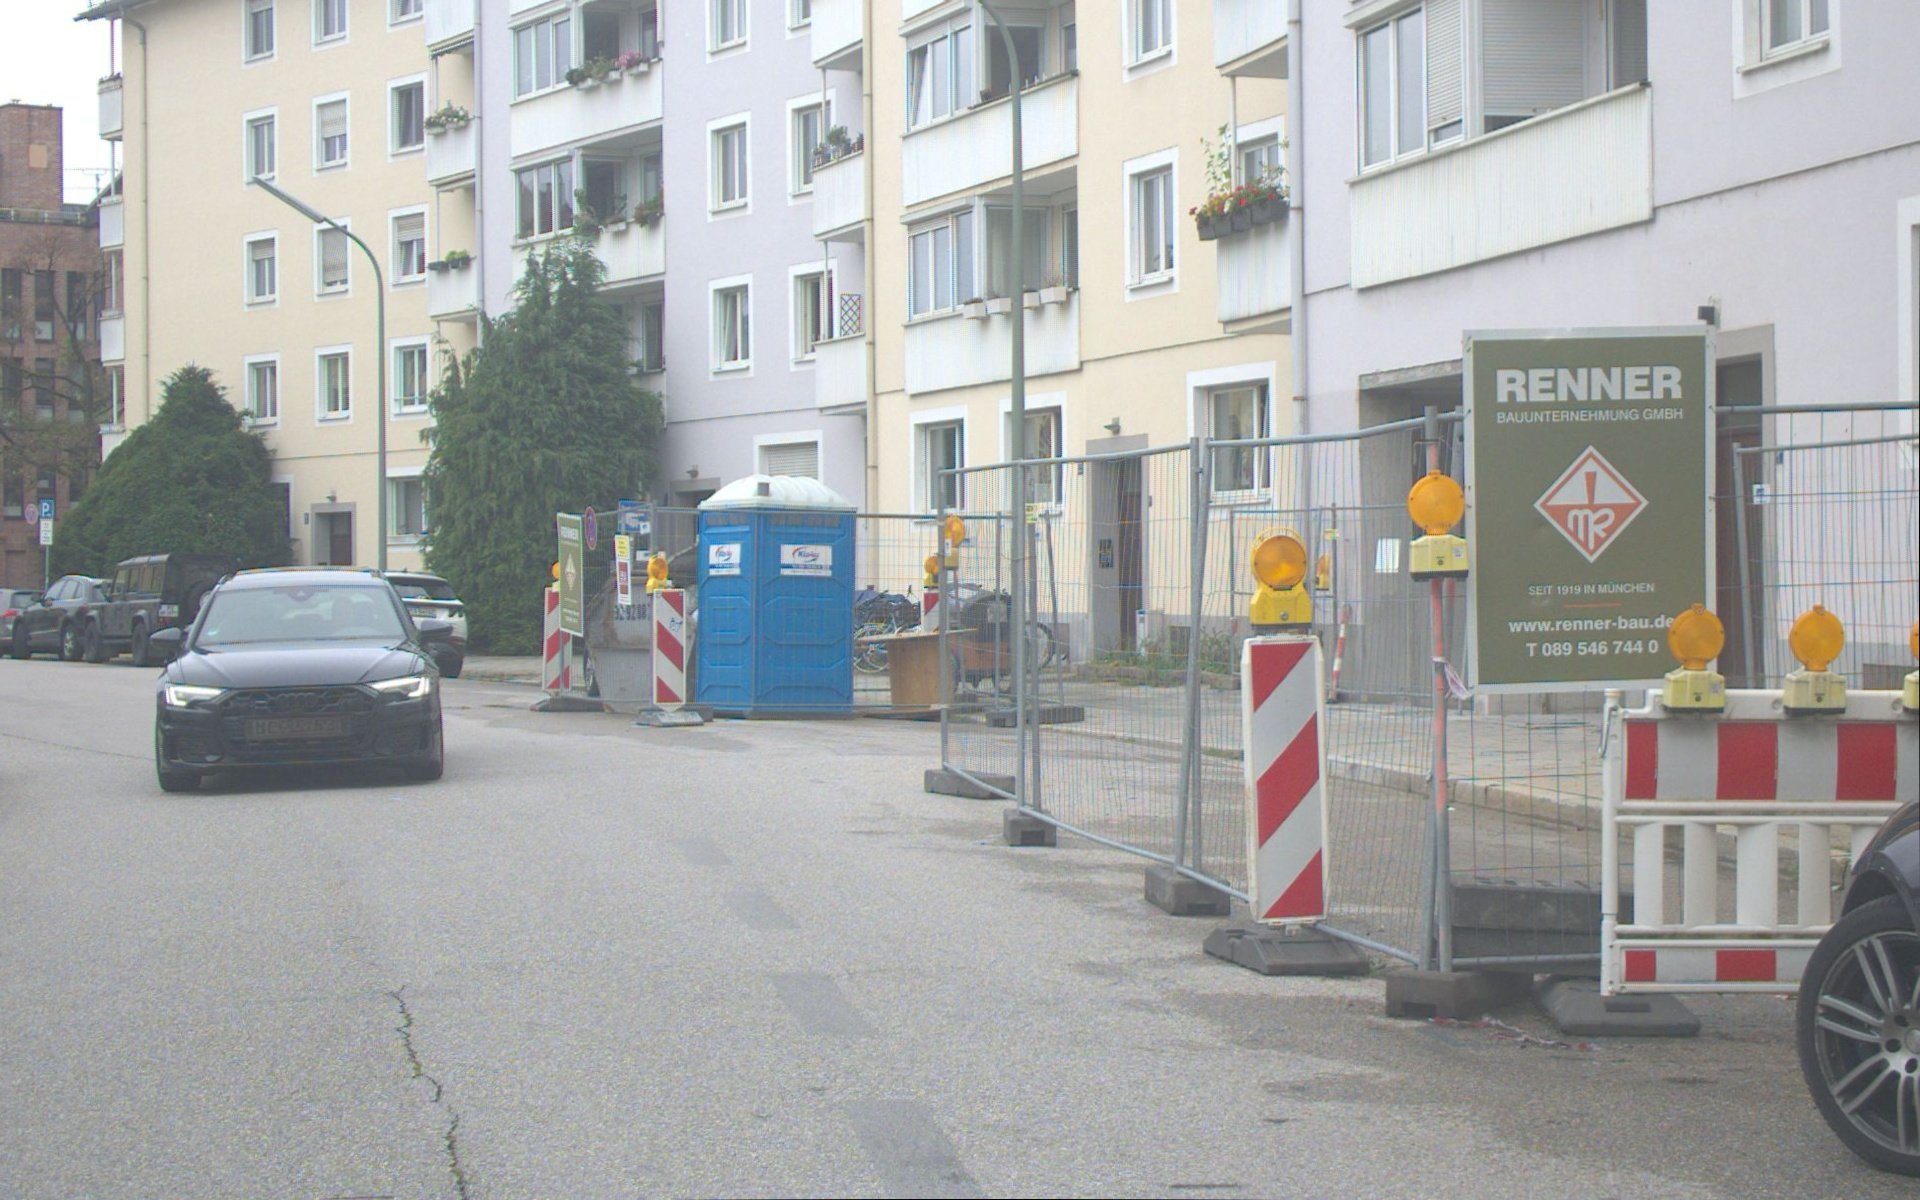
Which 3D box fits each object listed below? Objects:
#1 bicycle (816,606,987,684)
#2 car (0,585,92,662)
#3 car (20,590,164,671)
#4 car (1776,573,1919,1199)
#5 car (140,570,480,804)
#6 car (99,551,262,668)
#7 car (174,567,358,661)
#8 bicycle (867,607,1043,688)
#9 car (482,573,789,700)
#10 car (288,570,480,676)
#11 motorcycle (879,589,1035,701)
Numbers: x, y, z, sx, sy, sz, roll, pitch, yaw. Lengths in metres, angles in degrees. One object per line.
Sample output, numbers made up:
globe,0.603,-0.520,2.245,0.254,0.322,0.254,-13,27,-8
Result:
bicycle,-0.830,0.624,48.558,2.232,1.066,0.920,0,0,-21
car,-19.087,0.461,70.045,1.781,1.505,3.720,-1,0,-29
car,-16.741,0.572,66.223,1.781,1.505,3.720,0,0,-29
car,3.214,0.713,6.801,1.908,1.472,4.947,0,1,-1
car,-4.504,0.549,24.462,1.919,1.407,4.705,-3,0,-6
car,-13.969,0.167,61.498,1.781,1.970,3.720,-2,1,-29
car,-11.674,0.227,57.685,1.781,1.514,3.720,1,0,-33
bicycle,-0.066,0.644,47.215,2.232,1.066,0.920,0,0,-21
car,-3.946,0.407,41.232,1.781,1.434,4.281,-1,0,-35
car,-8.971,0.329,53.321,1.830,1.568,4.001,0,0,-27
motorcycle,-0.058,0.492,39.181,0.931,1.217,2.508,0,0,-21
